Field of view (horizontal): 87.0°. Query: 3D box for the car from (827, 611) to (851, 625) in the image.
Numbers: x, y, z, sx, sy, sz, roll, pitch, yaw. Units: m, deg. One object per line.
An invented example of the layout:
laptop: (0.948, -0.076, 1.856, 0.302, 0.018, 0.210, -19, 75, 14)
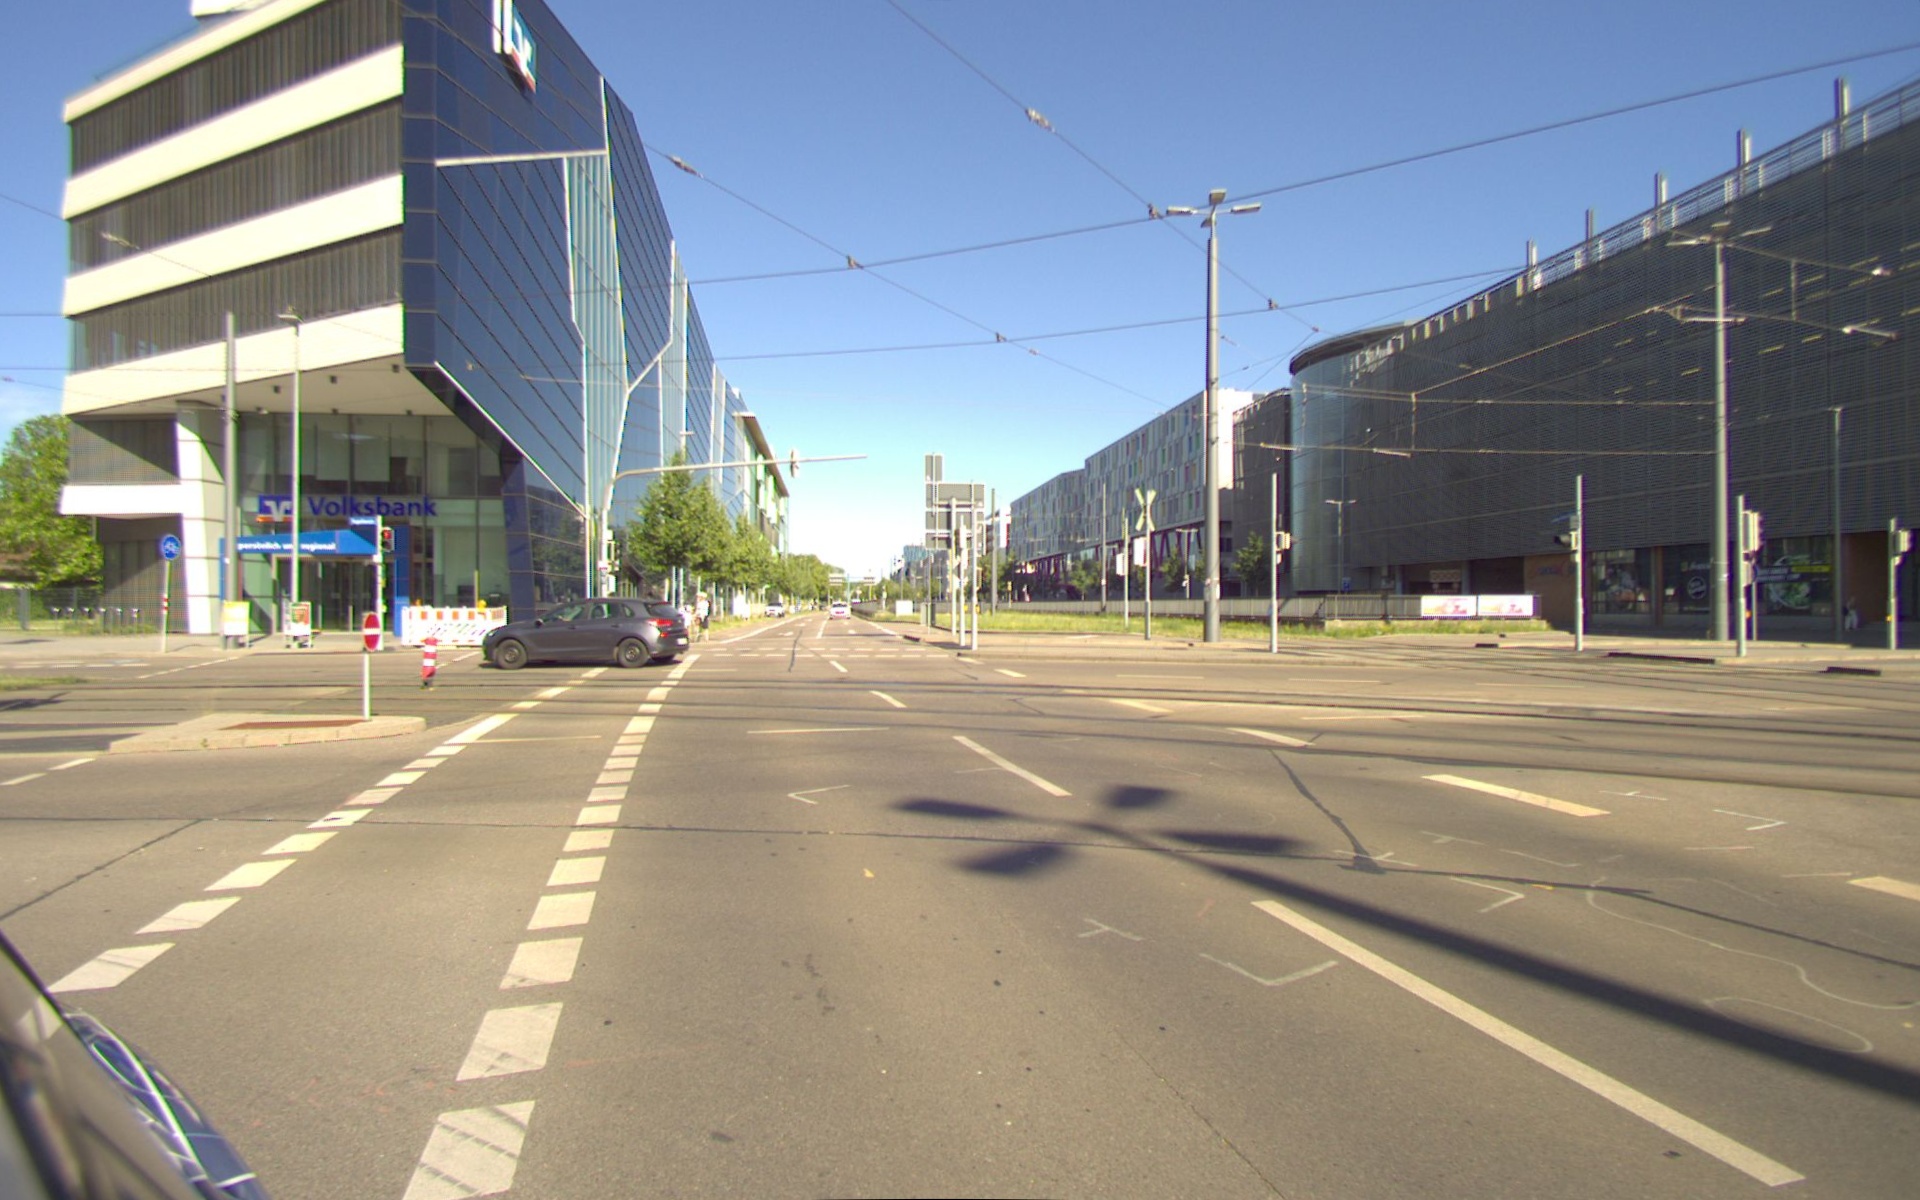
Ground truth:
car: (-10.207, 1.513, 85.137, 1.969, 1.098, 4.006, 0, 0, -7)

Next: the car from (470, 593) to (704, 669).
car: (-7.861, 0.631, 21.546, 4.258, 1.511, 1.996, 0, 0, 7)

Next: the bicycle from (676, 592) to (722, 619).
bicycle: (-8.760, 0.178, 34.084, 0.760, 0.846, 2.565, 0, 0, 3)

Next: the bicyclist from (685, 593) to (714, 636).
bicyclist: (-8.755, 0.488, 34.051, 0.752, 1.420, 0.771, 0, 0, 4)

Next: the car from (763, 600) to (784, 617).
car: (-19.766, 0.881, 107.454, 1.969, 1.741, 4.006, 0, 0, -7)

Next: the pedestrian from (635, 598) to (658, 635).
pedestrian: (-13.555, 0.719, 43.746, 0.845, 1.567, 0.614, 0, 0, -3)
